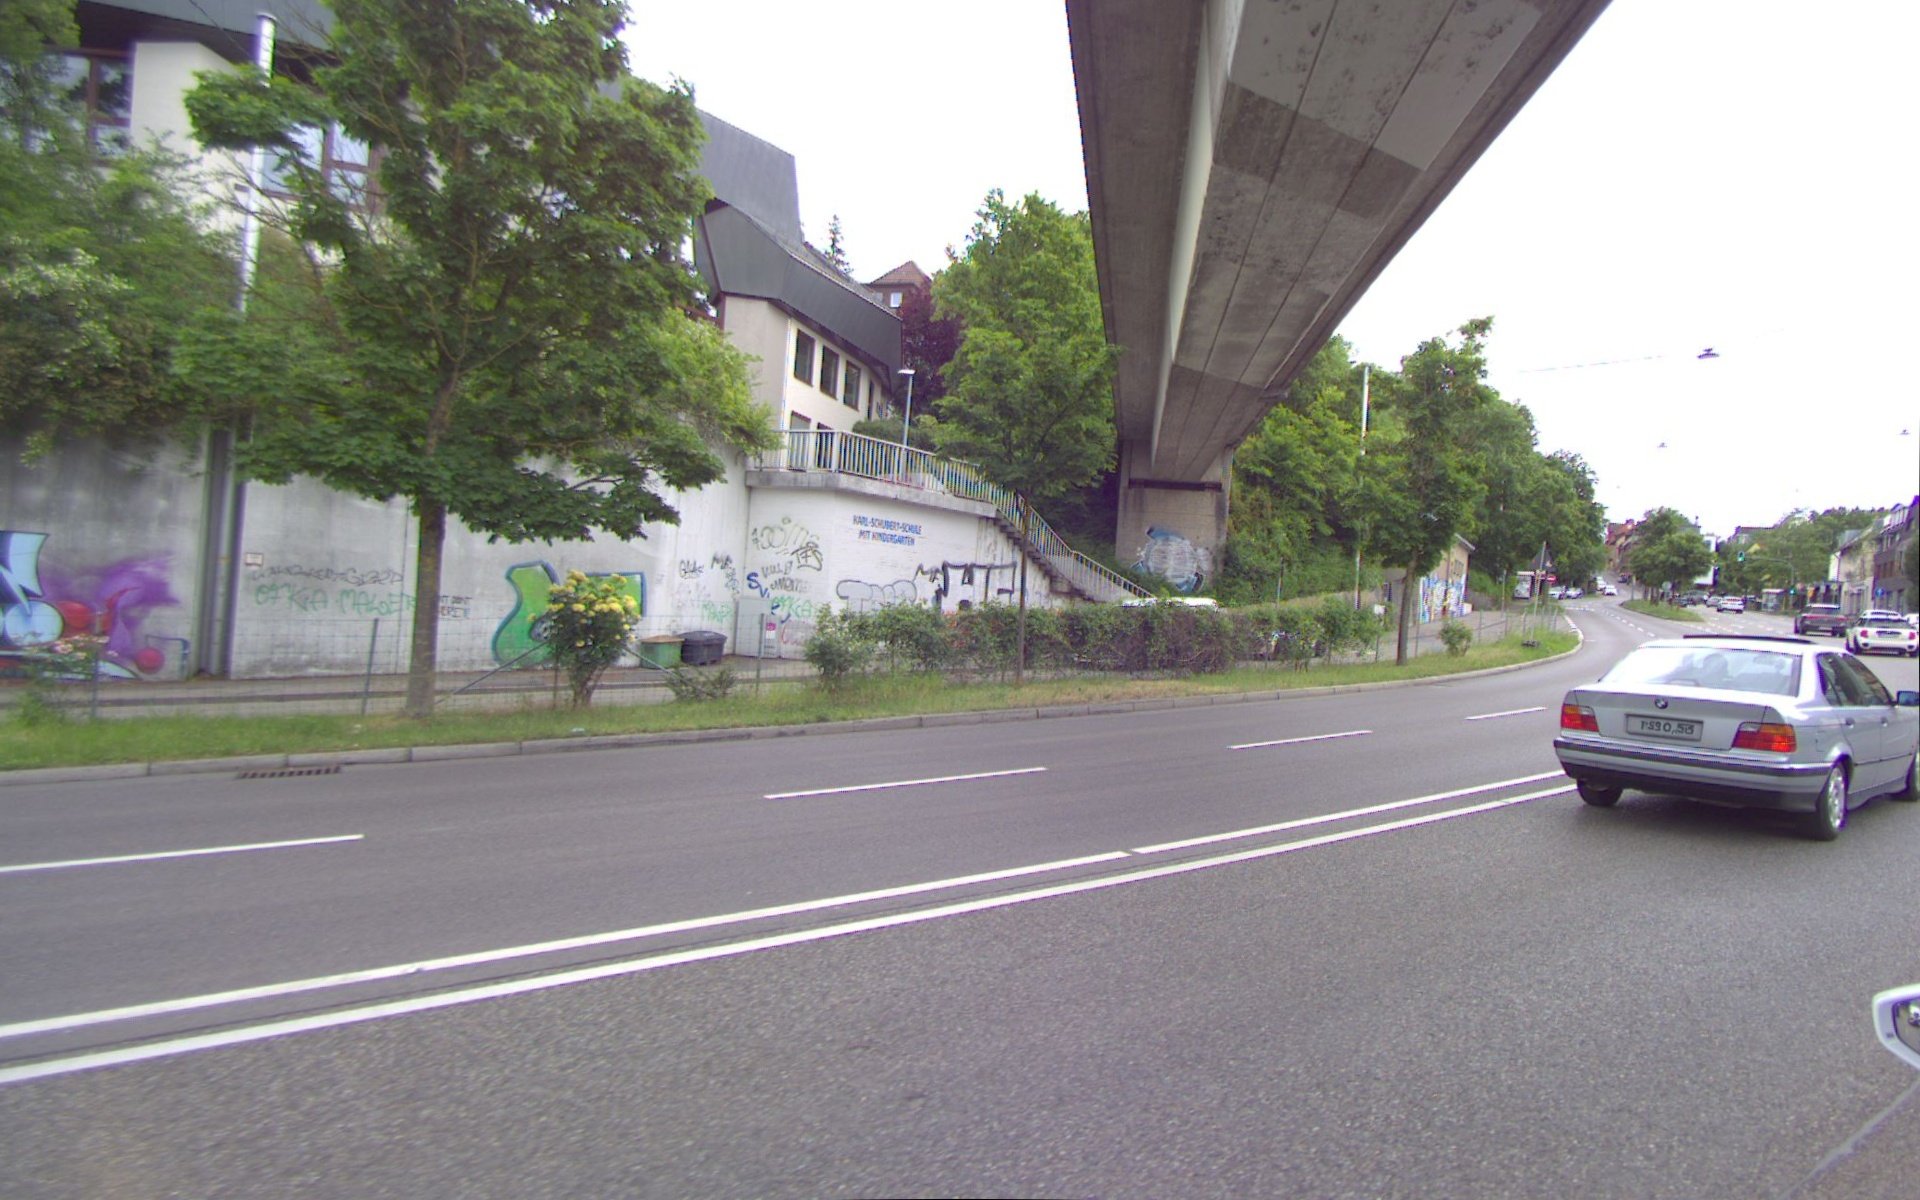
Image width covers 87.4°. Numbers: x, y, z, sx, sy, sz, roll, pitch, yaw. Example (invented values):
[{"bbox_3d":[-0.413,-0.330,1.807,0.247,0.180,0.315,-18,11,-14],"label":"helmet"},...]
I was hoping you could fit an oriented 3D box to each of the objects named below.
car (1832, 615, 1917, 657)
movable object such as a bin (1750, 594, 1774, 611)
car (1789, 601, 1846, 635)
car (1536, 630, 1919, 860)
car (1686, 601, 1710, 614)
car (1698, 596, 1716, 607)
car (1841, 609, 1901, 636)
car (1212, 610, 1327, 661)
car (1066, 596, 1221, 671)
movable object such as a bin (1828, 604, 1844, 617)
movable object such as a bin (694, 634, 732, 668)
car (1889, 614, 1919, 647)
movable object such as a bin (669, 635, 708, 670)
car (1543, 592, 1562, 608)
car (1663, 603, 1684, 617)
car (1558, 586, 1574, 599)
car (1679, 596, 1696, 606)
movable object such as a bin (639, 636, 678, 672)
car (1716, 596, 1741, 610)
[{"bbox_3d":[33.279,1.276,36.647,1.698,1.394,3.447,1,0,33],"label":"car"},{"bbox_3d":[98.011,0.331,122.756,1.862,1.895,1.527,6,4,25],"label":"movable object such as a bin"},{"bbox_3d":[45.428,0.929,53.290,1.698,1.662,3.449,1,1,31],"label":"car"},{"bbox_3d":[6.650,0.977,8.350,4.578,1.401,1.622,2,-1,-38],"label":"car"},{"bbox_3d":[115.672,1.197,157.413,3.963,2.041,1.979,1,1,-37],"label":"car"},{"bbox_3d":[102.872,0.215,138.331,1.699,1.394,3.447,1,0,33],"label":"car"},{"bbox_3d":[50.303,1.223,55.507,1.697,1.394,3.450,1,0,30],"label":"car"},{"bbox_3d":[9.590,1.061,30.964,3.776,1.438,1.750,1,0,-43],"label":"car"},{"bbox_3d":[4.918,0.846,26.545,4.433,1.809,1.750,1,-1,-43],"label":"car"},{"bbox_3d":[101.724,1.185,116.672,1.179,1.427,0.709,6,5,33],"label":"movable object such as a bin"},{"bbox_3d":[-5.455,1.125,22.202,0.550,0.649,0.579,6,5,37],"label":"movable object such as a bin"},{"bbox_3d":[42.212,1.335,43.903,1.698,1.394,3.448,1,0,32],"label":"car"},{"bbox_3d":[-5.859,1.127,21.674,0.550,0.649,0.579,6,5,37],"label":"movable object such as a bin"},{"bbox_3d":[72.642,-0.006,123.120,1.833,1.693,4.269,6,4,31],"label":"car"},{"bbox_3d":[85.232,1.214,119.993,1.698,1.604,3.449,1,1,31],"label":"car"},{"bbox_3d":[85.034,-1.021,140.981,1.833,1.615,4.269,6,4,31],"label":"car"},{"bbox_3d":[103.452,0.154,142.814,1.699,1.394,3.447,1,0,33],"label":"car"},{"bbox_3d":[-6.351,1.134,21.160,0.550,0.649,0.579,6,5,37],"label":"movable object such as a bin"},{"bbox_3d":[78.971,0.312,103.236,1.699,1.394,3.447,1,0,33],"label":"car"}]
